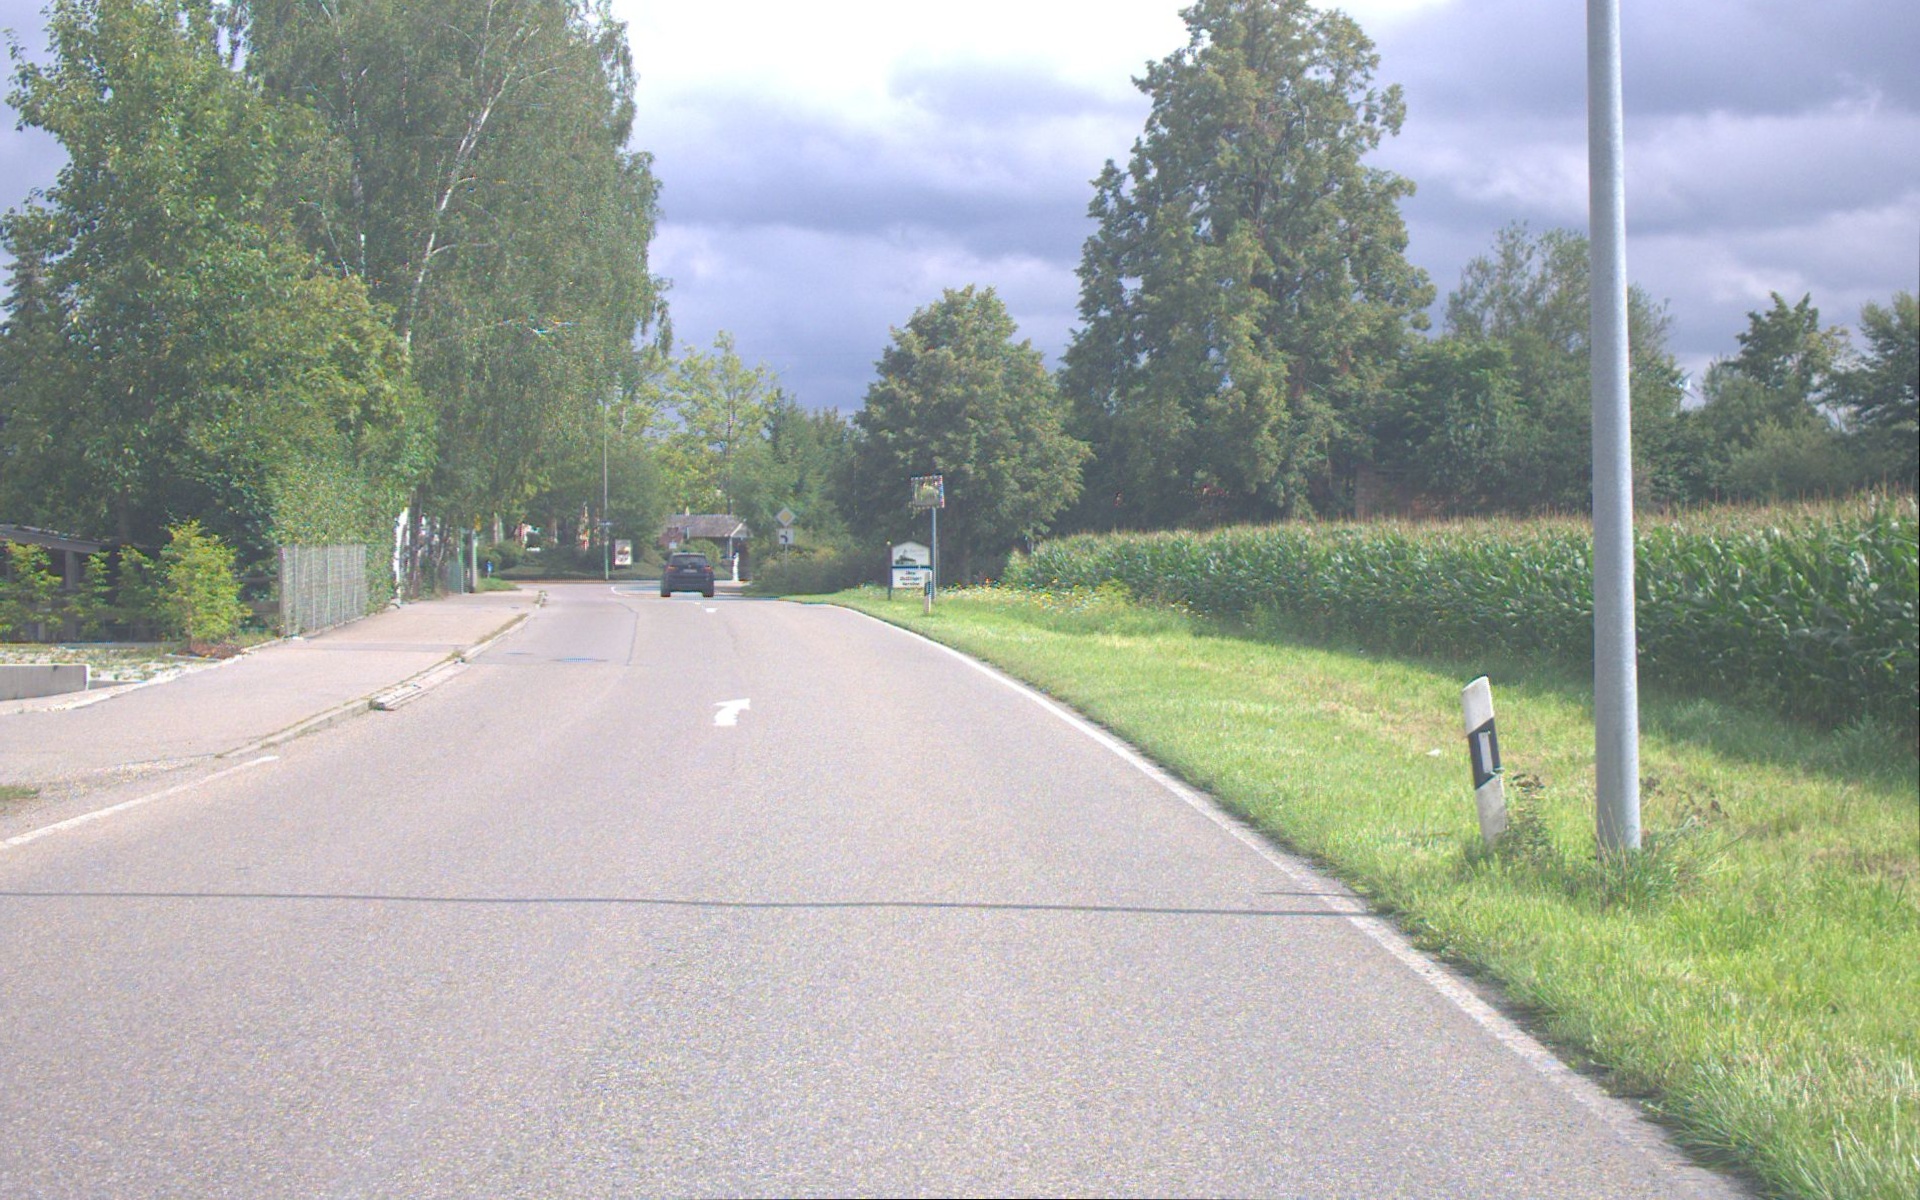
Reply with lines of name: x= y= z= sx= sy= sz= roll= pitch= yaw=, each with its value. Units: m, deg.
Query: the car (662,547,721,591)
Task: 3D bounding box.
car: x=-10.075 y=-1.179 z=128.953 sx=1.993 sy=1.579 sz=4.001 roll=0 pitch=1 yaw=-7
